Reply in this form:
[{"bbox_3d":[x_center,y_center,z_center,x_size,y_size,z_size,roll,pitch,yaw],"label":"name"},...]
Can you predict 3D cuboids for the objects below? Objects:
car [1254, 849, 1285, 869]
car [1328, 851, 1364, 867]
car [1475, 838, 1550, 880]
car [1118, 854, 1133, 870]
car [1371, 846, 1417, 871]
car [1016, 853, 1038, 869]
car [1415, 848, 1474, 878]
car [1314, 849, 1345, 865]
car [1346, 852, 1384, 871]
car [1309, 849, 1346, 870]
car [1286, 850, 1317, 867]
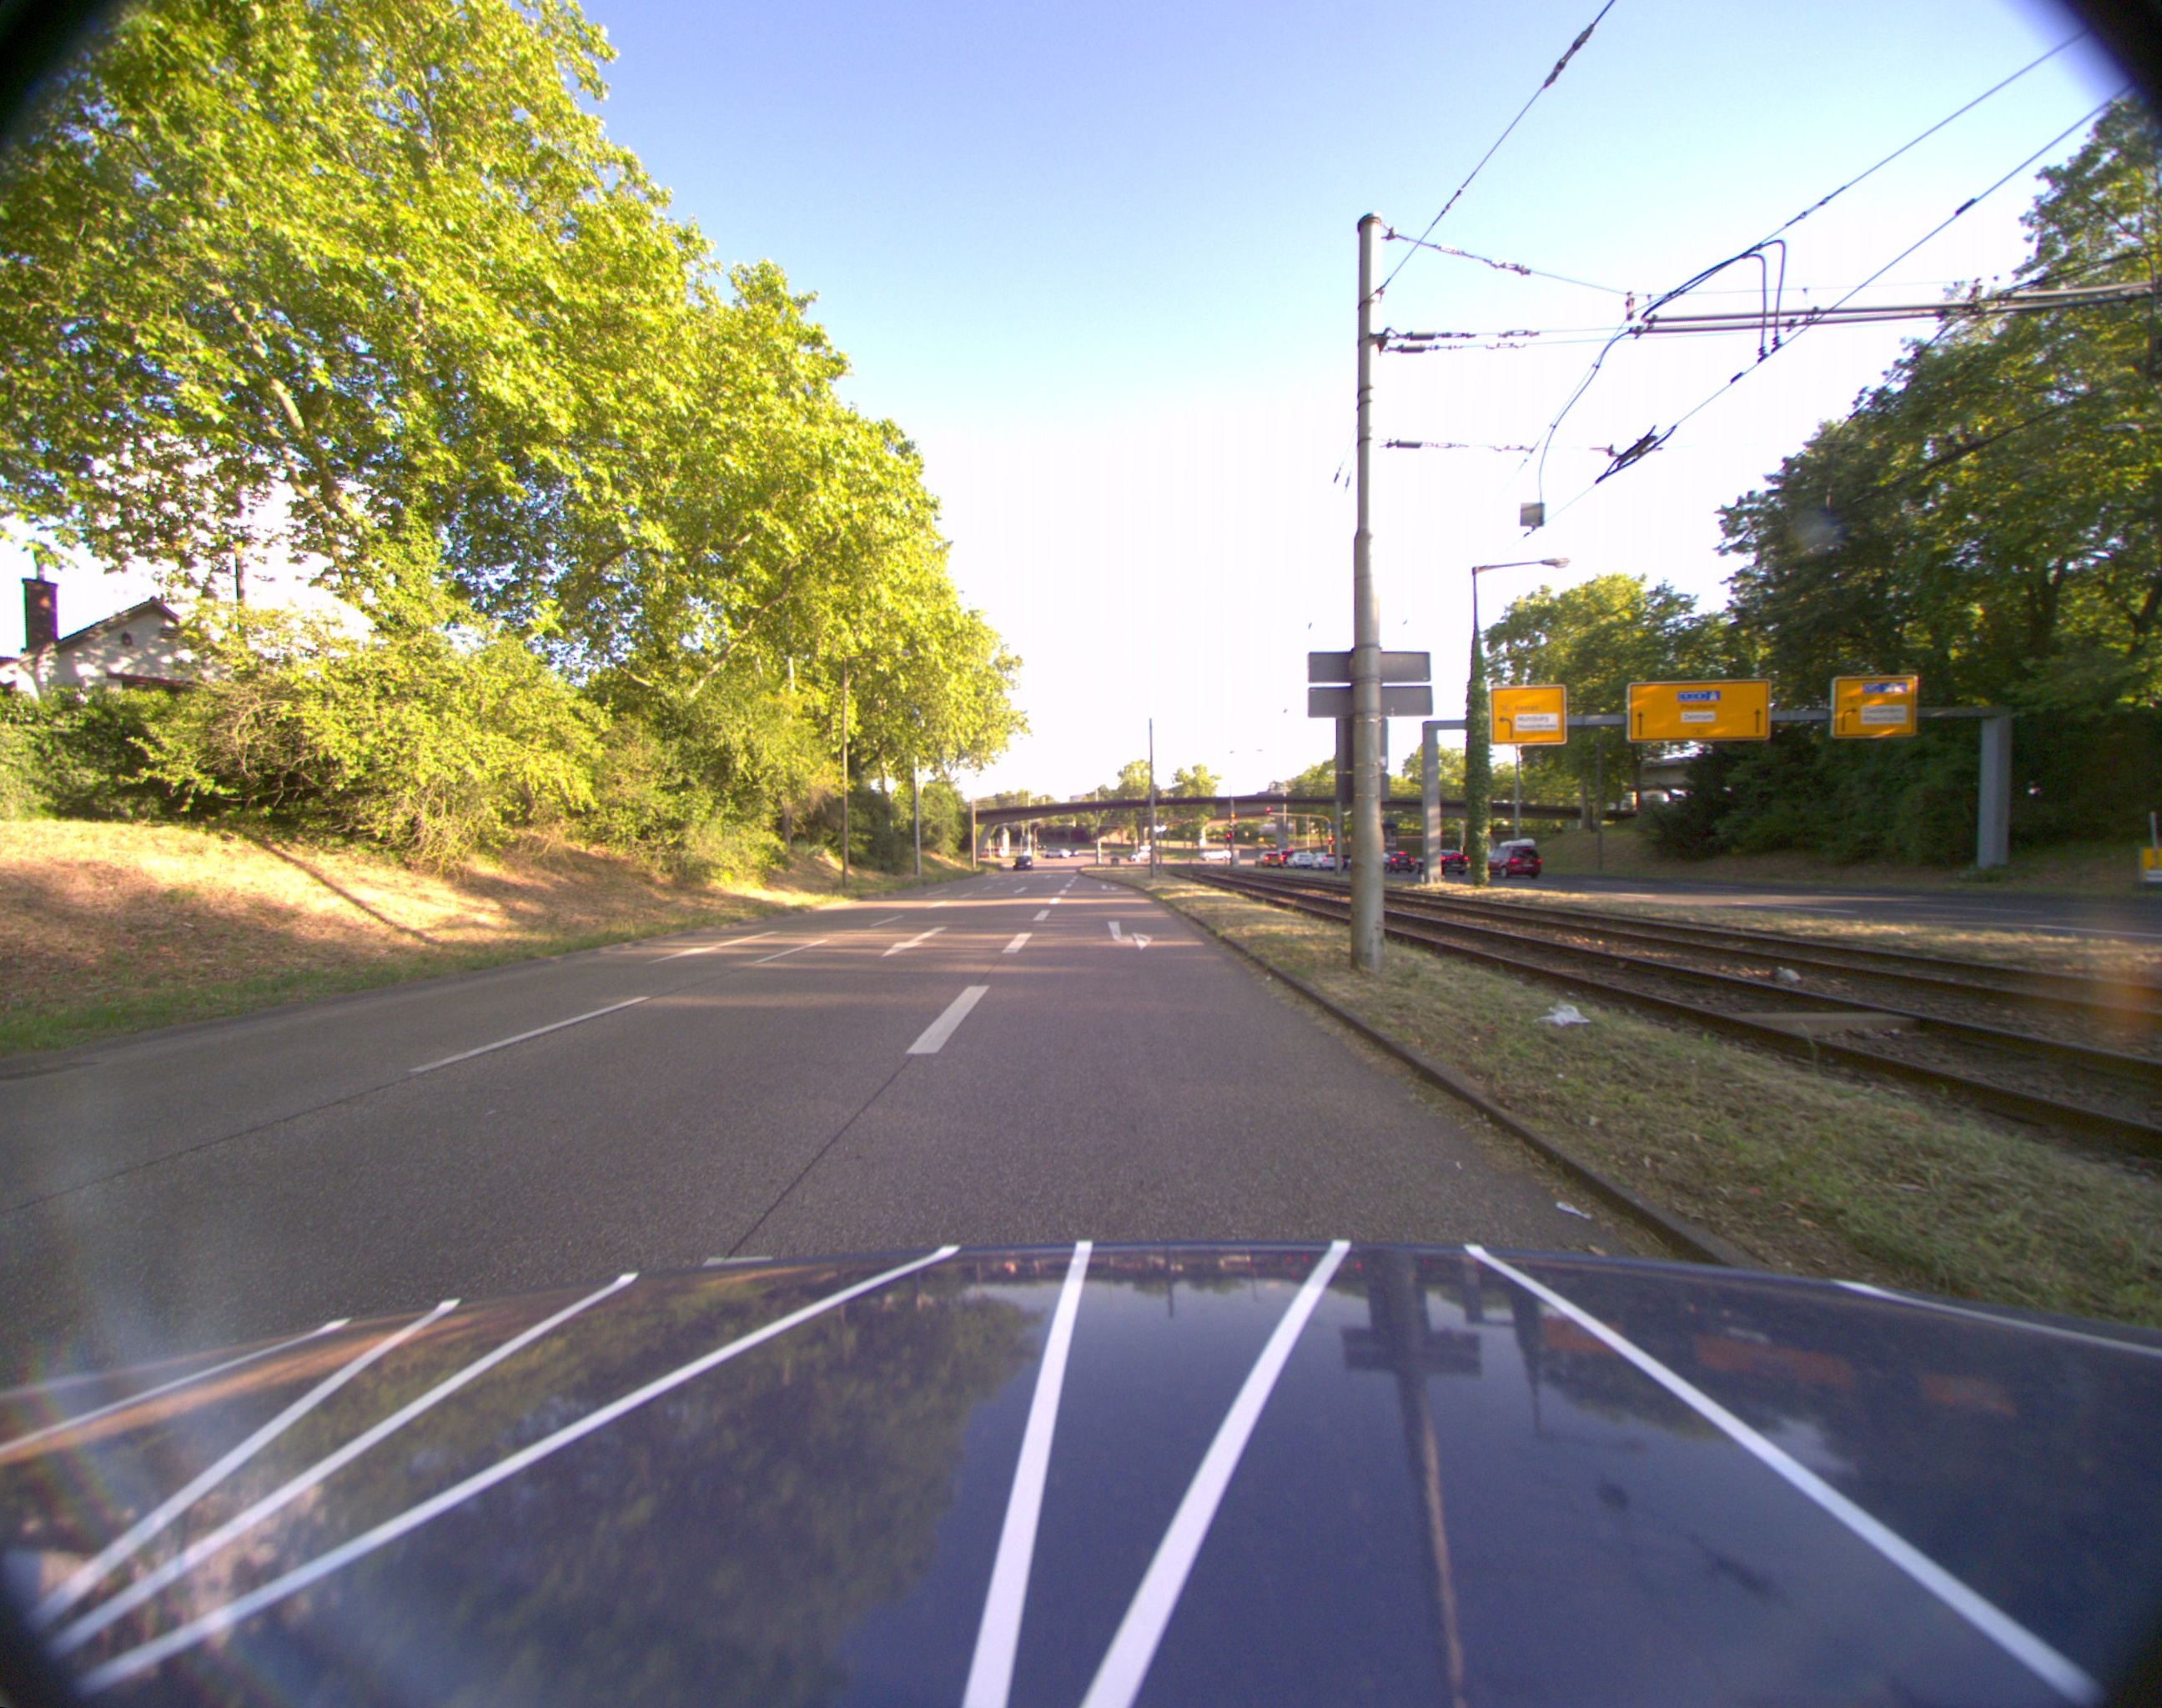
[{"bbox_3d":[16.146,0.412,65.236,1.667,1.556,4.000,-2,1,2],"label":"car"},{"bbox_3d":[24.476,0.423,70.308,1.796,1.375,4.476,-2,1,2],"label":"car"},{"bbox_3d":[23.245,0.238,41.085,1.797,2.093,4.000,-2,1,1],"label":"car"},{"bbox_3d":[6.190,1.121,105.925,1.998,2.150,4.191,-2,0,3],"label":"car"},{"bbox_3d":[23.094,0.303,56.153,1.796,1.740,4.000,-2,1,2],"label":"car"},{"bbox_3d":[-5.199,0.641,73.503,1.628,1.434,3.985,-2,1,1],"label":"car"},{"bbox_3d":[23.095,0.556,48.404,1.796,1.740,4.241,-2,1,2],"label":"car"},{"bbox_3d":[24.682,0.268,75.596,1.796,1.433,4.000,-2,1,2],"label":"car"},{"bbox_3d":[23.879,0.574,64.015,1.796,1.473,4.000,-2,1,2],"label":"car"},{"bbox_3d":[20.034,0.394,61.889,1.667,1.556,4.190,-2,1,2],"label":"car"},{"bbox_3d":[19.936,0.408,68.839,1.745,1.424,4.412,1,1,4],"label":"car"}]
